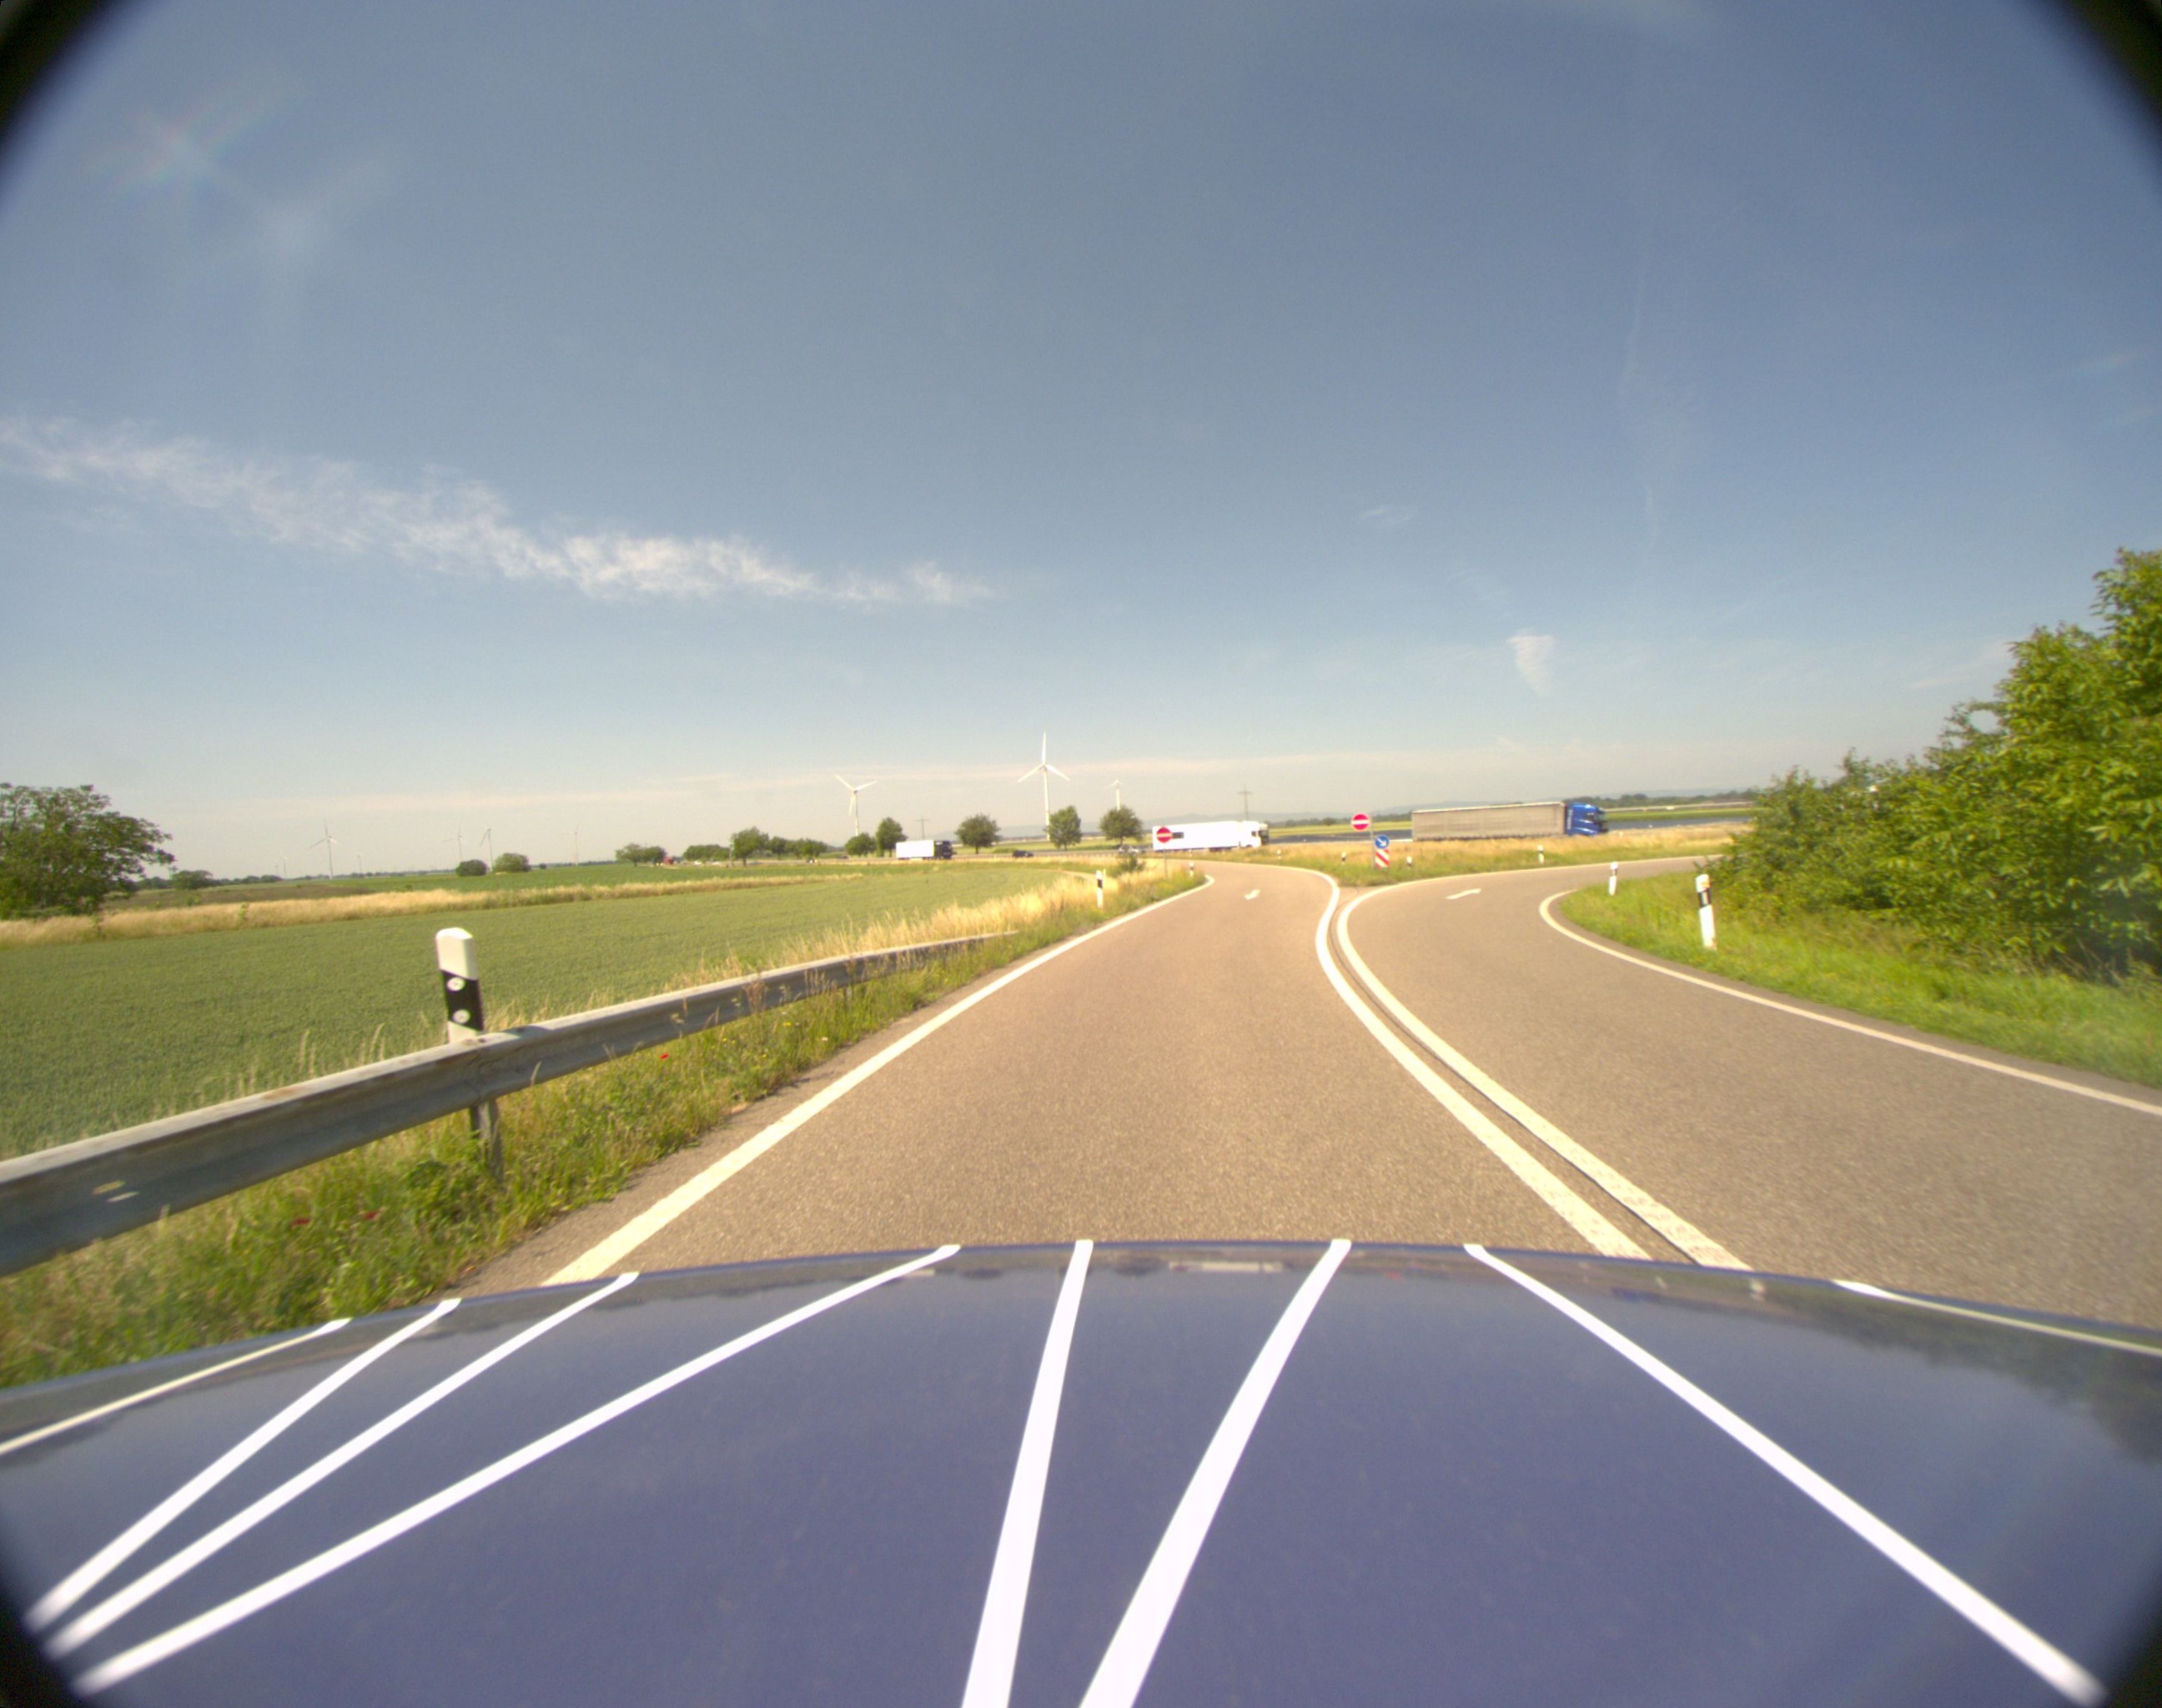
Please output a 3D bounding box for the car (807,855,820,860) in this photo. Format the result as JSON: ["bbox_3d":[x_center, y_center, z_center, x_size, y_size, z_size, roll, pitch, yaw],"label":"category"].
[{"bbox_3d":[-70.484,0.964,200.259,1.685,1.346,3.988,-3,2,-44],"label":"car"}]

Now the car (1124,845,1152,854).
[{"bbox_3d":[8.316,-0.660,111.578,1.685,1.346,3.988,-3,2,-44],"label":"car"}]

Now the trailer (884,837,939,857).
[{"bbox_3d":[-33.201,-1.353,148.334,3.108,3.623,14.473,-3,2,-44],"label":"trailer"}]

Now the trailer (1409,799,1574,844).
[{"bbox_3d":[39.193,-2.993,73.371,3.108,3.623,13.766,-3,2,-41],"label":"trailer"}]

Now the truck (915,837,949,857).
[{"bbox_3d":[-28.083,-1.243,143.156,3.121,3.498,6.219,-3,2,-45],"label":"truck"}]

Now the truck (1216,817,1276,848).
[{"bbox_3d":[20.149,-2.620,92.874,3.121,3.498,6.437,-3,2,-45],"label":"truck"}]

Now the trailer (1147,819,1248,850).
[{"bbox_3d":[14.871,-2.456,98.357,3.108,3.623,13.617,-3,2,-44],"label":"trailer"}]

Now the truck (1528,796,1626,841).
[{"bbox_3d":[44.160,-3.085,67.783,3.121,3.645,6.612,-3,2,-41],"label":"truck"}]

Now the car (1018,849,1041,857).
[{"bbox_3d":[-8.890,-0.219,130.747,1.685,1.346,3.989,-3,2,-42],"label":"car"}]
